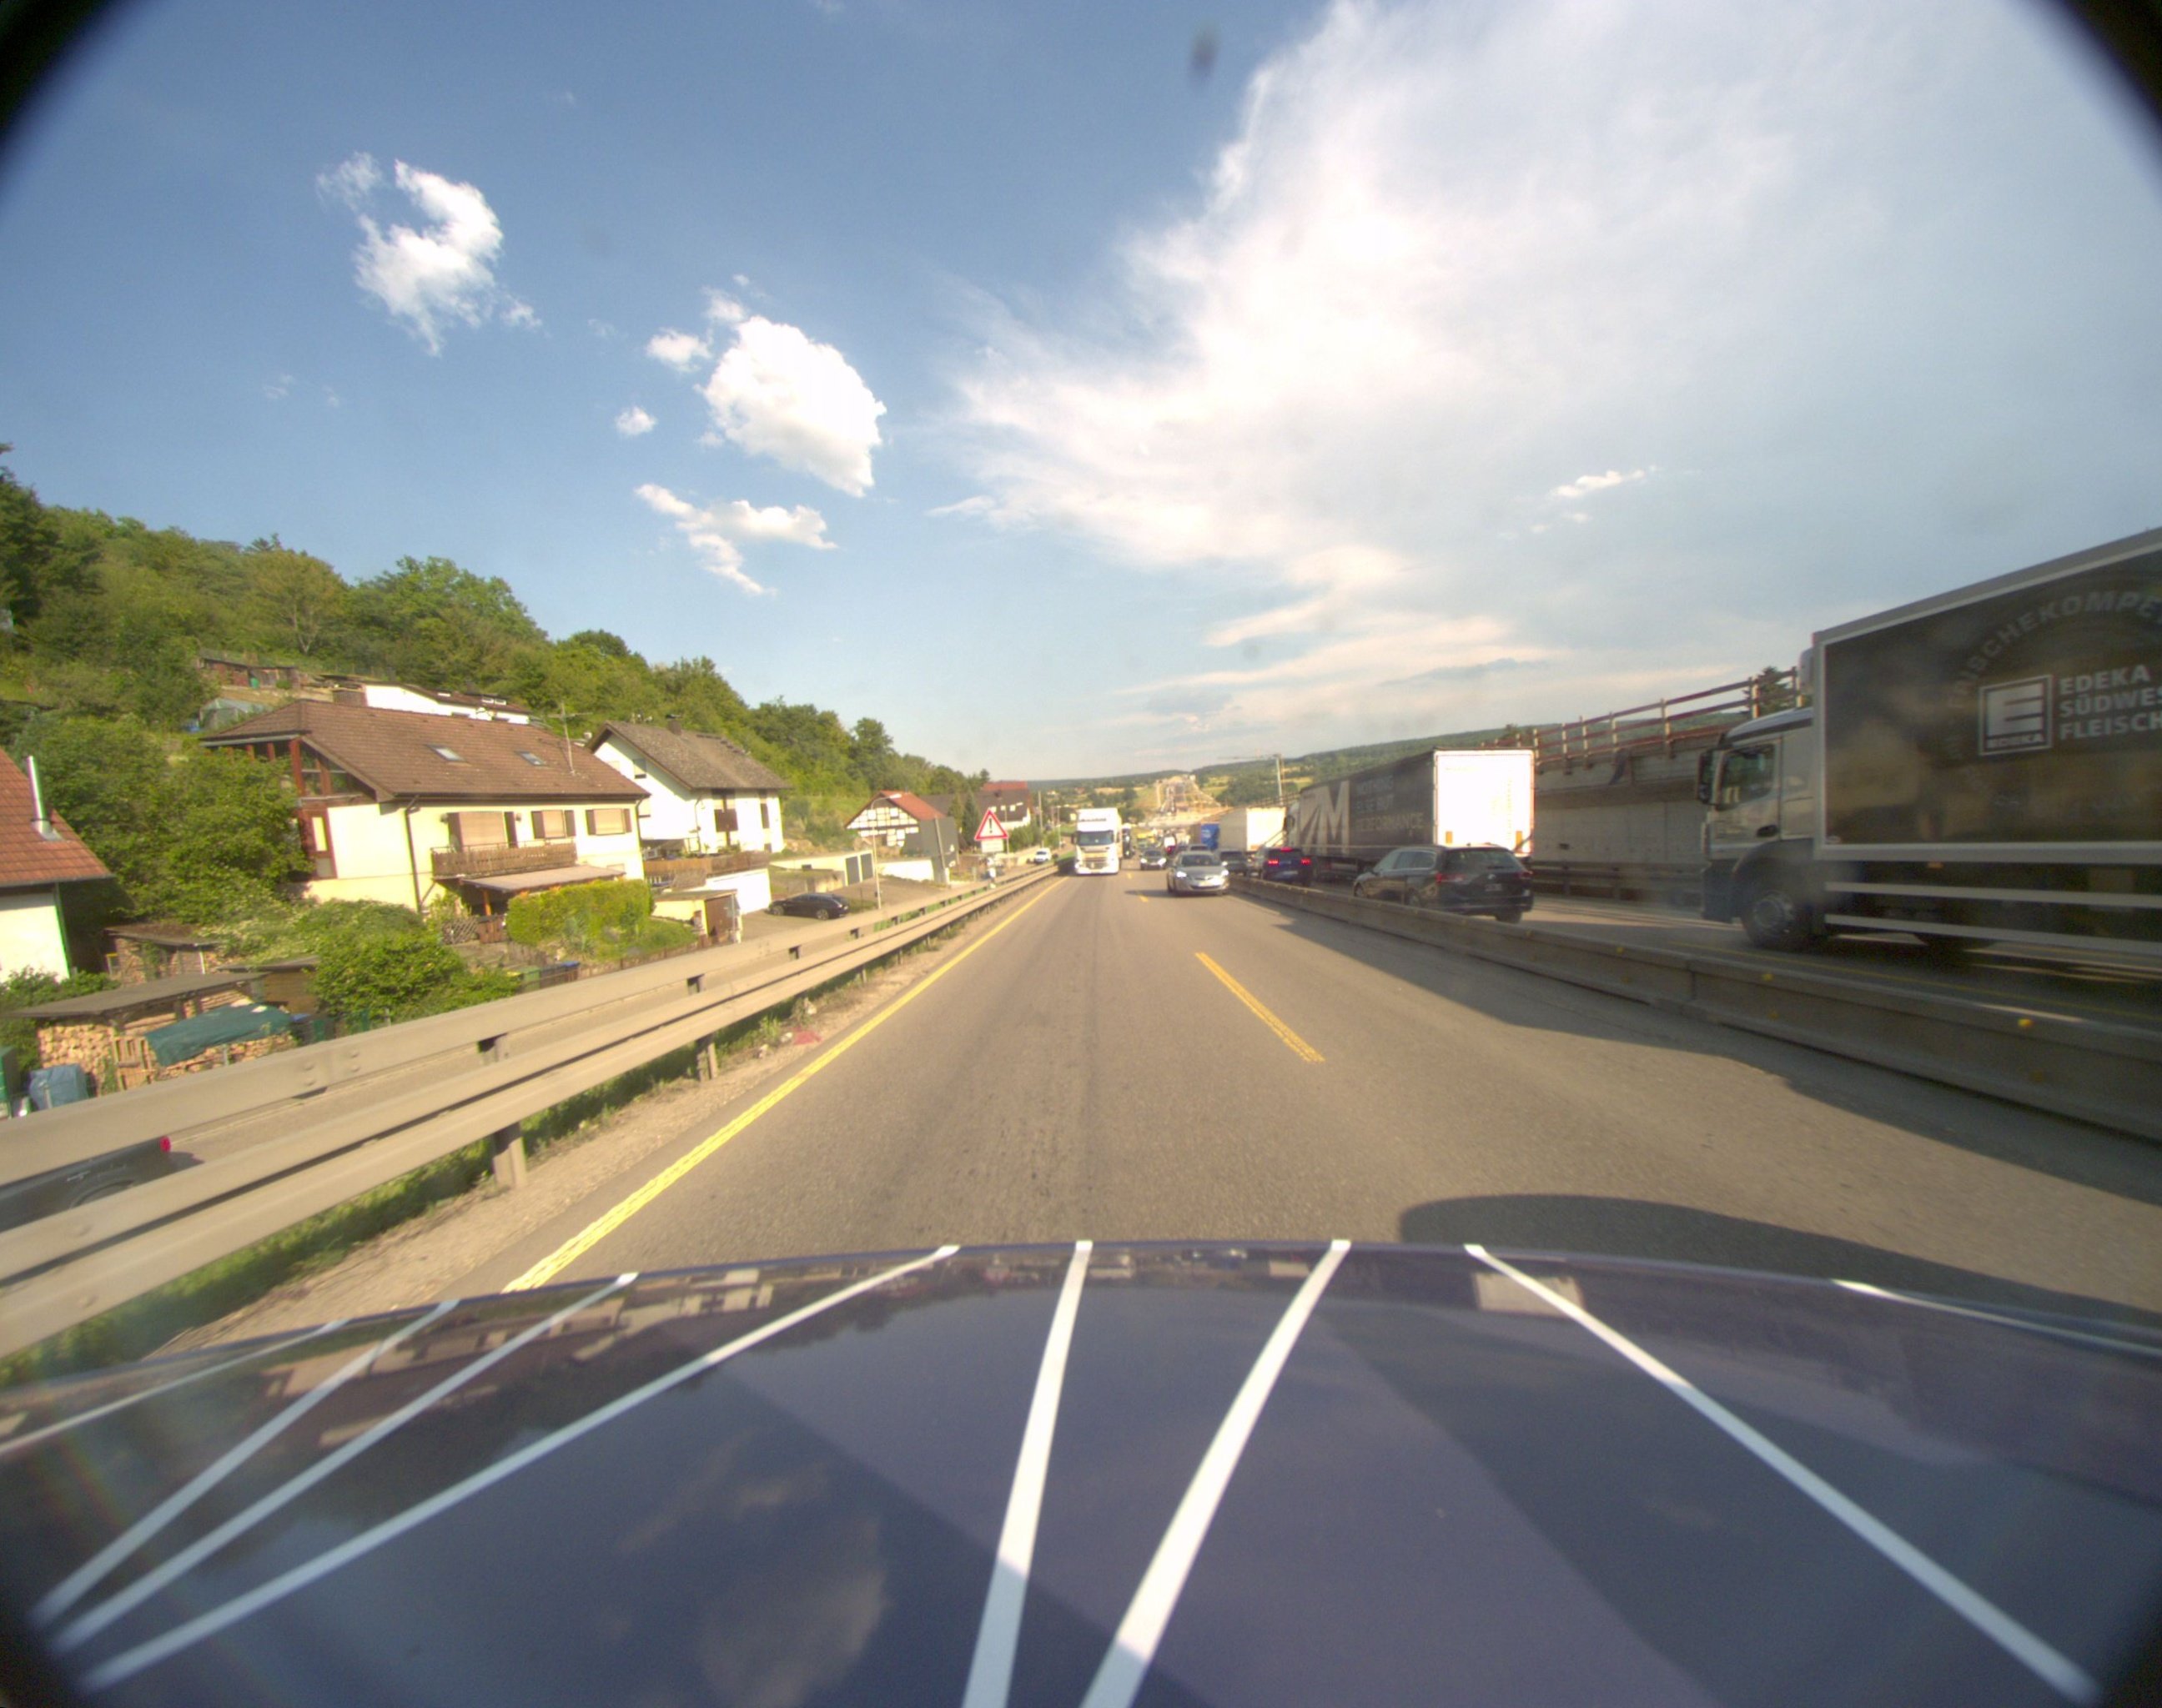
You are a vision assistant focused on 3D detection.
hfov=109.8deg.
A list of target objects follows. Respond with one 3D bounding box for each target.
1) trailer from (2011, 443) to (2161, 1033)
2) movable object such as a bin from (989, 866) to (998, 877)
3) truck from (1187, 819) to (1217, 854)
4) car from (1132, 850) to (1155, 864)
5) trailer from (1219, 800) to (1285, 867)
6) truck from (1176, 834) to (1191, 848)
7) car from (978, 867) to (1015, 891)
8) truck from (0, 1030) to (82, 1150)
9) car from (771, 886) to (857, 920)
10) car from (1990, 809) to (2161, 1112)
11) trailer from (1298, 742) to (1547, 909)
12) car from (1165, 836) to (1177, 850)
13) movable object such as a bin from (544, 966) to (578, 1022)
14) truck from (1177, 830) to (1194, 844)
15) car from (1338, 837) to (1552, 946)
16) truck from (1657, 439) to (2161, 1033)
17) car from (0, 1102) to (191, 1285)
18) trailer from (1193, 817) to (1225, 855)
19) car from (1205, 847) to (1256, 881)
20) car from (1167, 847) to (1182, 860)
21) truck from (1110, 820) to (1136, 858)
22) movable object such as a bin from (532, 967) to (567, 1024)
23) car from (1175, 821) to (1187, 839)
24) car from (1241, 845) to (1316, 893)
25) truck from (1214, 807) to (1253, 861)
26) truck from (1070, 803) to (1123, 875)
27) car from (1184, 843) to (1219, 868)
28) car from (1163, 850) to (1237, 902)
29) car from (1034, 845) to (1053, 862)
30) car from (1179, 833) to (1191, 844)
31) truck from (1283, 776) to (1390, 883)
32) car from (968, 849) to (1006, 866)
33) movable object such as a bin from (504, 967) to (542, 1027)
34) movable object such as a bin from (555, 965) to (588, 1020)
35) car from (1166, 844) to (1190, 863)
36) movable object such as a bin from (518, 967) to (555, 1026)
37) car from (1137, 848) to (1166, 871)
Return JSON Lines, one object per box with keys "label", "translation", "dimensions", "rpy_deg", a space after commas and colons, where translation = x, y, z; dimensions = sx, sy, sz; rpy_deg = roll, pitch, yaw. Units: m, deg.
{"label": "trailer", "translation": [9.576, -0.862, 3.071], "dimensions": [2.918, 4.440, 7.151], "rpy_deg": [-2, 1, 1]}
{"label": "movable object such as a bin", "translation": [-8.512, 1.721, 73.926], "dimensions": [0.723, 0.995, 0.677], "rpy_deg": [-4, 2, 5]}
{"label": "truck", "translation": [15.263, -2.210, 96.392], "dimensions": [2.822, 4.234, 10.582], "rpy_deg": [-1, 1, 4]}
{"label": "car", "translation": [7.210, 0.341, 88.000], "dimensions": [1.999, 1.565, 3.998], "rpy_deg": [-1, 1, -4]}
{"label": "trailer", "translation": [12.273, -1.455, 55.784], "dimensions": [2.461, 4.295, 13.775], "rpy_deg": [-1, 1, 3]}
{"label": "truck", "translation": [18.577, -2.322, 137.416], "dimensions": [2.279, 2.288, 6.065], "rpy_deg": [-5, 1, 6]}
{"label": "car", "translation": [-7.142, 2.112, 64.470], "dimensions": [1.771, 1.588, 3.620], "rpy_deg": [-9, -1, 12]}
{"label": "truck", "translation": [-22.529, 4.943, 15.300], "dimensions": [2.002, 1.729, 3.990], "rpy_deg": [-12, 6, -42]}
{"label": "car", "translation": [-16.341, 2.977, 46.564], "dimensions": [4.501, 1.517, 2.000], "rpy_deg": [4, 4, 8]}
{"label": "car", "translation": [6.646, 0.594, 2.063], "dimensions": [1.881, 1.596, 5.367], "rpy_deg": [0, 1, 0]}
{"label": "trailer", "translation": [10.687, -0.872, 26.283], "dimensions": [2.782, 4.179, 13.831], "rpy_deg": [-1, 1, 2]}
{"label": "car", "translation": [17.073, -2.106, 144.361], "dimensions": [2.000, 2.601, 5.614], "rpy_deg": [-1, 1, 5]}
{"label": "movable object such as a bin", "translation": [-17.378, 4.666, 25.382], "dimensions": [0.490, 1.760, 0.414], "rpy_deg": [-11, 1, 13]}
{"label": "truck", "translation": [23.860, -3.895, 173.350], "dimensions": [3.241, 3.128, 6.490], "rpy_deg": [-1, 1, 4]}
{"label": "car", "translation": [6.677, 0.553, 14.634], "dimensions": [1.867, 1.577, 4.745], "rpy_deg": [-5, 2, 2]}
{"label": "truck", "translation": [9.641, -0.965, 8.261], "dimensions": [2.927, 4.489, 5.026], "rpy_deg": [-2, 1, 1]}
{"label": "car", "translation": [-15.681, 5.016, 10.150], "dimensions": [1.866, 1.775, 4.499], "rpy_deg": [-2, 2, 8]}
{"label": "trailer", "translation": [14.542, -2.025, 86.963], "dimensions": [2.822, 4.082, 8.287], "rpy_deg": [-1, 1, 5]}
{"label": "car", "translation": [7.828, 0.469, 40.136], "dimensions": [1.779, 1.448, 4.813], "rpy_deg": [-3, 2, 1]}
{"label": "car", "translation": [12.303, -0.104, 100.180], "dimensions": [1.703, 1.567, 4.370], "rpy_deg": [-1, 1, 4]}
{"label": "truck", "translation": [5.256, -1.793, 95.432], "dimensions": [2.788, 4.505, 7.191], "rpy_deg": [-4, 0, 3]}
{"label": "movable object such as a bin", "translation": [-17.484, 4.654, 24.978], "dimensions": [0.490, 1.760, 0.414], "rpy_deg": [-11, 1, 13]}
{"label": "car", "translation": [31.145, -7.295, 236.618], "dimensions": [3.326, 5.356, 14.302], "rpy_deg": [-1, 1, 7]}
{"label": "car", "translation": [7.456, 0.500, 29.086], "dimensions": [1.771, 1.542, 4.478], "rpy_deg": [-3, 2, 2]}
{"label": "truck", "translation": [12.744, -1.635, 63.891], "dimensions": [2.461, 4.291, 5.473], "rpy_deg": [-1, 1, 3]}
{"label": "truck", "translation": [1.205, -1.002, 50.169], "dimensions": [2.892, 4.059, 13.892], "rpy_deg": [-1, 1, 3]}
{"label": "car", "translation": [9.188, 0.056, 58.410], "dimensions": [2.013, 1.645, 4.974], "rpy_deg": [-4, 1, 3]}
{"label": "car", "translation": [3.911, 0.681, 25.590], "dimensions": [1.810, 1.478, 4.117], "rpy_deg": [-3, 1, 0]}
{"label": "car", "translation": [-4.753, -0.087, 97.397], "dimensions": [1.824, 1.931, 4.284], "rpy_deg": [-3, 3, 4]}
{"label": "car", "translation": [21.876, -3.251, 159.836], "dimensions": [2.214, 2.011, 3.974], "rpy_deg": [-5, 1, 6]}
{"label": "truck", "translation": [10.916, -1.021, 33.092], "dimensions": [2.771, 4.179, 6.114], "rpy_deg": [-1, 1, 2]}
{"label": "car", "translation": [-10.768, 0.386, 87.175], "dimensions": [3.995, 1.829, 1.750], "rpy_deg": [0, 3, 6]}
{"label": "movable object such as a bin", "translation": [-17.707, 4.537, 24.128], "dimensions": [0.530, 1.760, 0.416], "rpy_deg": [-11, 1, 13]}
{"label": "movable object such as a bin", "translation": [-17.292, 4.704, 25.801], "dimensions": [0.490, 1.760, 0.414], "rpy_deg": [-11, 1, 13]}
{"label": "car", "translation": [9.608, -0.091, 75.915], "dimensions": [1.885, 1.598, 4.730], "rpy_deg": [-4, 1, 2]}
{"label": "movable object such as a bin", "translation": [-17.593, 4.595, 24.549], "dimensions": [0.536, 1.760, 0.409], "rpy_deg": [-11, 1, 13]}
{"label": "car", "translation": [4.855, 0.322, 52.487], "dimensions": [1.823, 1.433, 4.001], "rpy_deg": [-3, 0, 4]}
